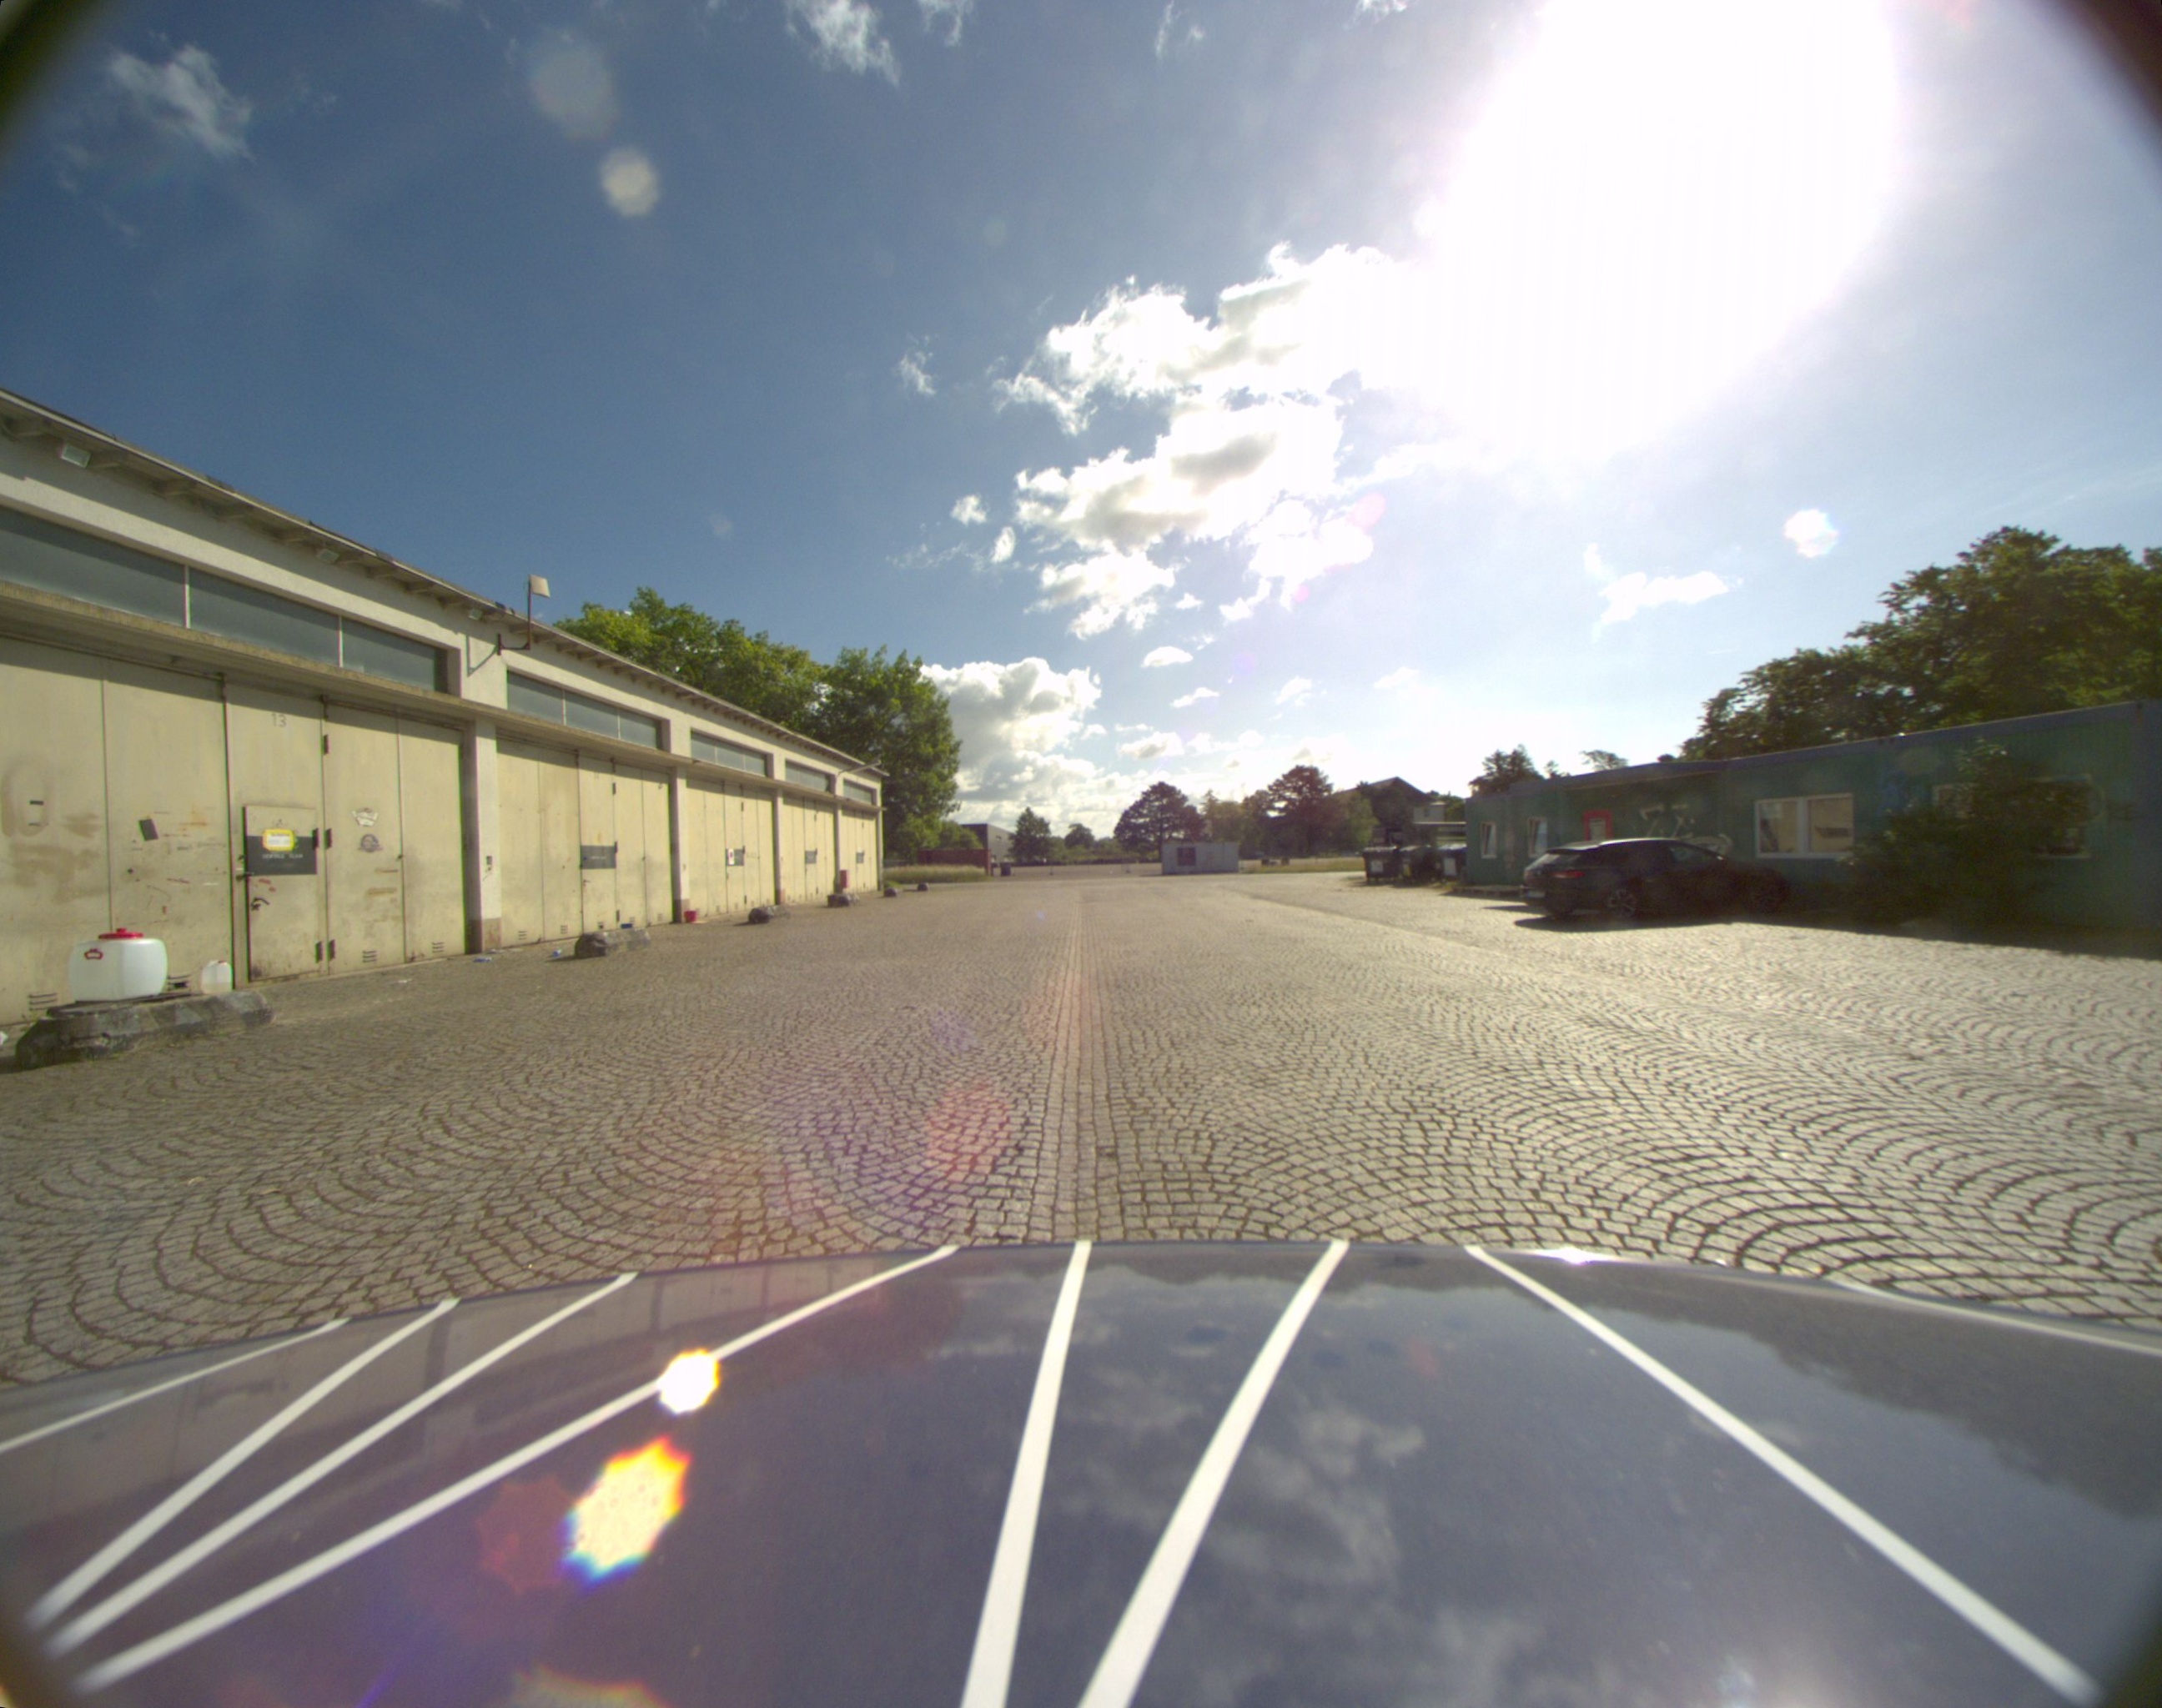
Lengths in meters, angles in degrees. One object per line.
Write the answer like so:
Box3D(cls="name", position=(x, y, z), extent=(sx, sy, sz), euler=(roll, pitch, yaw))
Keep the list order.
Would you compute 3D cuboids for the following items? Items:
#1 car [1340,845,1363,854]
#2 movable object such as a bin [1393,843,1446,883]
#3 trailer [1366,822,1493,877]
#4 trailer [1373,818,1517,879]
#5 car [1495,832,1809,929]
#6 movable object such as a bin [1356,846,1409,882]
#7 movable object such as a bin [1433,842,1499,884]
Box3D(cls="car", position=(54.355, -0.914, 152.736), extent=(3.998, 1.573, 1.999), euler=(-2, 0, -4))
Box3D(cls="movable object such as a bin", position=(12.682, 0.339, 28.532), extent=(1.299, 1.414, 1.536), euler=(-2, 0, 2))
Box3D(cls="trailer", position=(15.573, -0.189, 34.154), extent=(4.666, 2.284, 2.137), euler=(-2, 0, 1))
Box3D(cls="trailer", position=(15.102, -0.225, 31.669), extent=(4.973, 2.341, 2.095), euler=(-2, 0, -3))
Box3D(cls="car", position=(10.536, 0.454, 14.264), extent=(4.427, 1.456, 1.999), euler=(-3, 0, -3))
Box3D(cls="movable object such as a bin", position=(12.137, 0.386, 30.622), extent=(1.389, 1.378, 1.531), euler=(-2, 1, -44))
Box3D(cls="movable object such as a bin", position=(13.565, 0.304, 26.829), extent=(1.386, 1.378, 1.534), euler=(-2, 0, -12))
